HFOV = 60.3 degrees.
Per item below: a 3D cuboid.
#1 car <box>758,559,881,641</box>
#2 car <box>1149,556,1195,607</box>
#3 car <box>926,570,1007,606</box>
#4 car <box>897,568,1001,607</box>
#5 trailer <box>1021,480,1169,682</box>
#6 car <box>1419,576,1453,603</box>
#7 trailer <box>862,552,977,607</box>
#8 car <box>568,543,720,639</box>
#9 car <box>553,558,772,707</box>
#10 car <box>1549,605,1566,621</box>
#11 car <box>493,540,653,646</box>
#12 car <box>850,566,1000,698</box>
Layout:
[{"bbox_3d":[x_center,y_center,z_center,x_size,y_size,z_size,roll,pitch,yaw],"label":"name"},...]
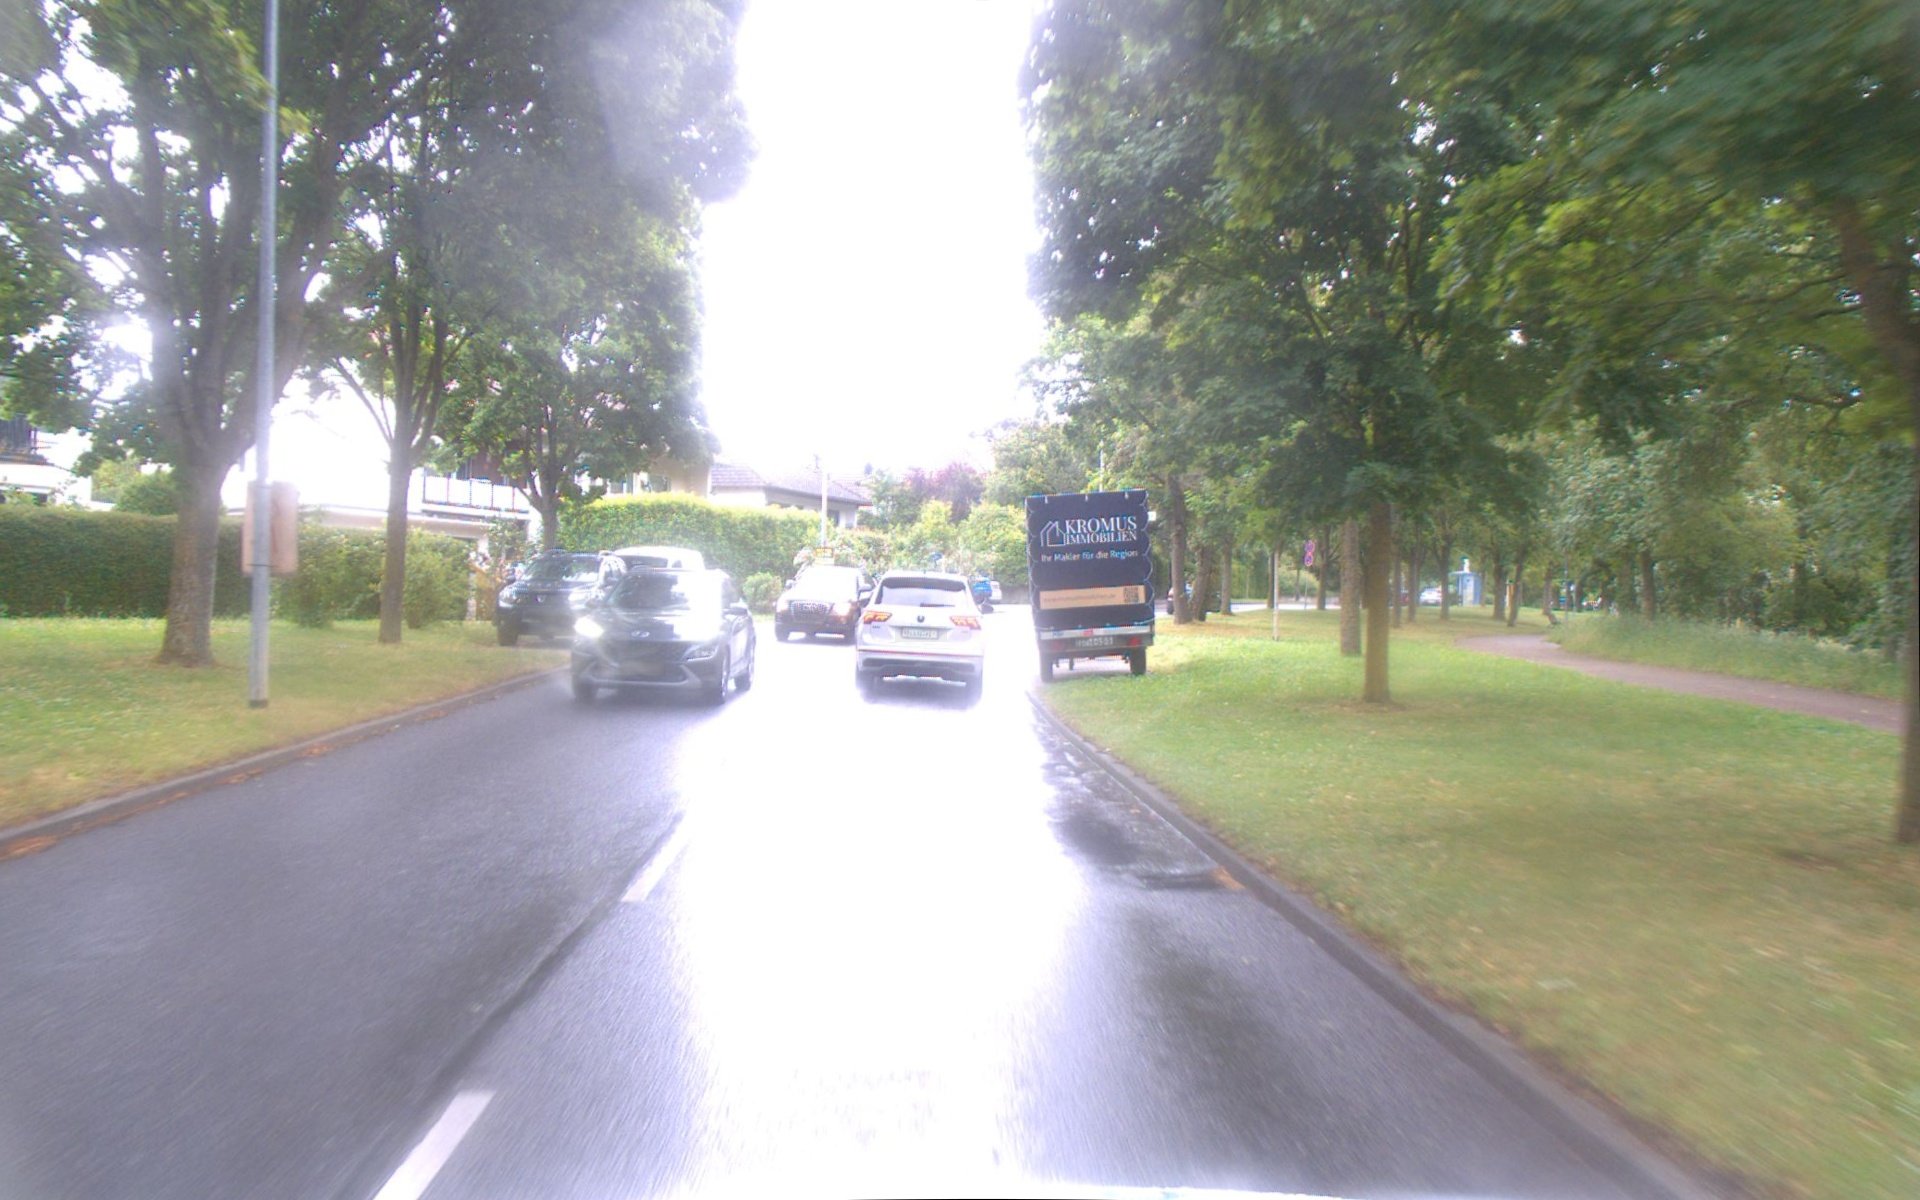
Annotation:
[{"bbox_3d":[-3.189,-0.034,38.386,1.812,1.721,4.409,2,1,9],"label":"car"},{"bbox_3d":[9.371,-0.775,72.874,1.861,2.048,3.947,4,0,8],"label":"car"},{"bbox_3d":[0.310,-0.578,77.239,3.333,1.545,1.731,2,1,21],"label":"car"},{"bbox_3d":[-0.499,-0.568,74.083,4.151,1.566,2.052,2,1,21],"label":"car"},{"bbox_3d":[2.101,-0.311,27.226,1.952,2.857,5.609,-4,1,2],"label":"trailer"},{"bbox_3d":[36.157,-0.813,125.561,1.953,1.836,3.999,4,0,22],"label":"car"},{"bbox_3d":[-1.738,-0.884,70.938,4.525,2.209,1.815,2,1,21],"label":"trailer"},{"bbox_3d":[-6.621,-0.195,35.152,1.760,1.827,4.376,3,1,8],"label":"car"},{"bbox_3d":[-3.575,0.313,20.640,1.752,1.563,4.094,4,1,2],"label":"car"},{"bbox_3d":[63.995,1.411,177.130,1.391,1.597,3.432,4,0,16],"label":"car"},{"bbox_3d":[-6.887,-0.115,29.907,1.714,1.669,4.592,4,0,0],"label":"car"},{"bbox_3d":[-0.558,0.407,24.042,1.935,1.681,4.175,2,0,-3],"label":"car"}]
